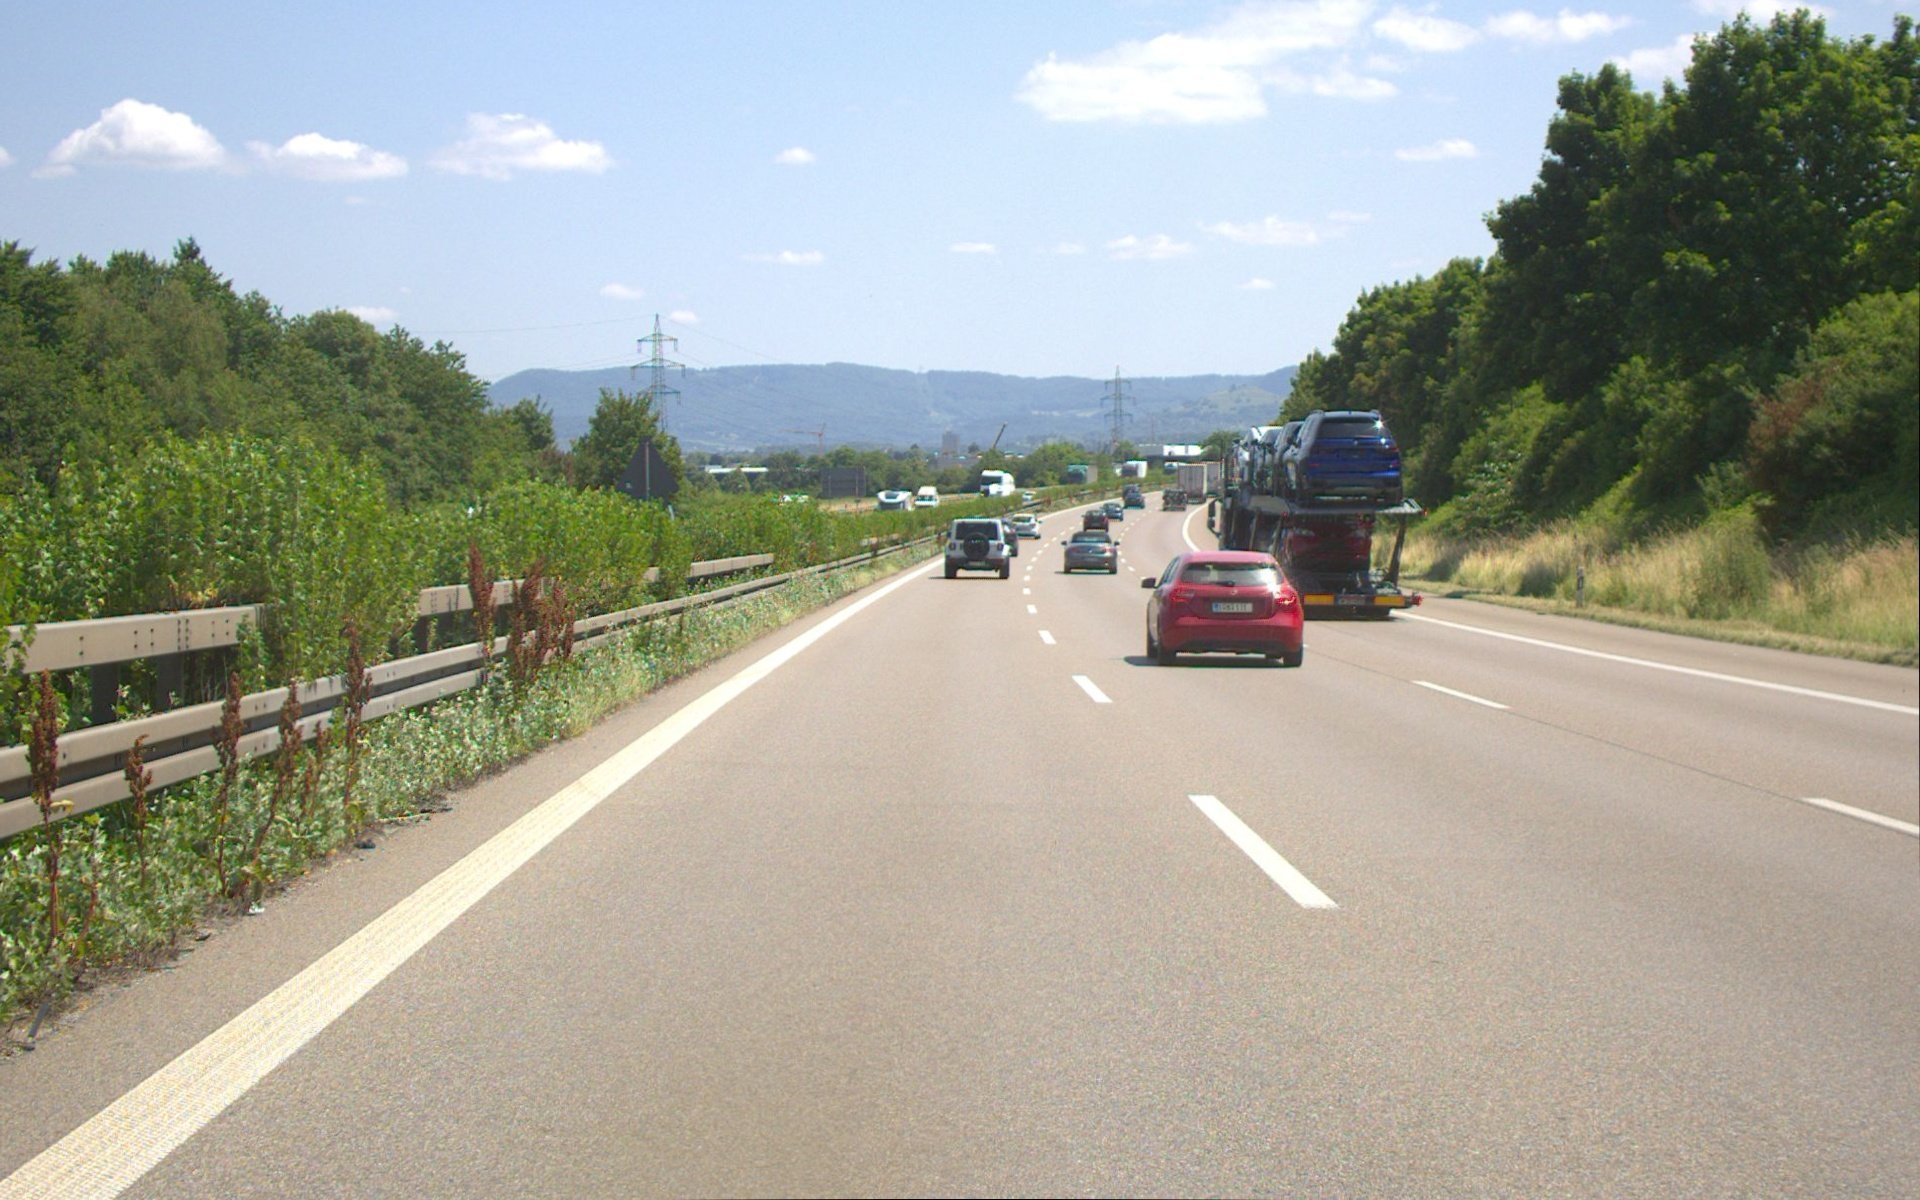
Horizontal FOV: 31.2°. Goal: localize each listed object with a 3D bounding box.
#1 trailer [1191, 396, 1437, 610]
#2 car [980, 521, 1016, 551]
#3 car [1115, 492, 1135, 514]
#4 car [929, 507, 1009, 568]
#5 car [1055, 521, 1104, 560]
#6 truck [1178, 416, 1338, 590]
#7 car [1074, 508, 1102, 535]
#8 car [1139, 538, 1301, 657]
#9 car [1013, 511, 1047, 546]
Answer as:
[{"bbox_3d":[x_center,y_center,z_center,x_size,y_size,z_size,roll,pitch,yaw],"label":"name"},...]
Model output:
[{"bbox_3d":[7.161,-2.011,72.166,2.855,3.979,15.399,1,1,-2],"label":"trailer"},{"bbox_3d":[1.654,-2.770,148.964,1.455,1.263,3.337,1,1,2],"label":"car"},{"bbox_3d":[12.523,-7.339,260.188,1.397,1.699,3.001,1,1,4],"label":"car"},{"bbox_3d":[0.238,-1.940,106.174,2.083,1.823,4.754,1,1,-4],"label":"car"},{"bbox_3d":[4.042,-2.012,116.302,1.452,1.263,3.539,1,1,-1],"label":"car"},{"bbox_3d":[6.850,-2.244,79.885,2.753,3.839,6.645,1,1,-3],"label":"truck"},{"bbox_3d":[8.259,-5.029,221.049,1.636,1.699,3.401,1,1,4],"label":"car"},{"bbox_3d":[3.233,-0.061,43.284,1.686,1.374,3.949,1,1,0],"label":"car"},{"bbox_3d":[4.009,-4.095,196.642,1.698,2.007,3.822,1,1,4],"label":"car"}]
